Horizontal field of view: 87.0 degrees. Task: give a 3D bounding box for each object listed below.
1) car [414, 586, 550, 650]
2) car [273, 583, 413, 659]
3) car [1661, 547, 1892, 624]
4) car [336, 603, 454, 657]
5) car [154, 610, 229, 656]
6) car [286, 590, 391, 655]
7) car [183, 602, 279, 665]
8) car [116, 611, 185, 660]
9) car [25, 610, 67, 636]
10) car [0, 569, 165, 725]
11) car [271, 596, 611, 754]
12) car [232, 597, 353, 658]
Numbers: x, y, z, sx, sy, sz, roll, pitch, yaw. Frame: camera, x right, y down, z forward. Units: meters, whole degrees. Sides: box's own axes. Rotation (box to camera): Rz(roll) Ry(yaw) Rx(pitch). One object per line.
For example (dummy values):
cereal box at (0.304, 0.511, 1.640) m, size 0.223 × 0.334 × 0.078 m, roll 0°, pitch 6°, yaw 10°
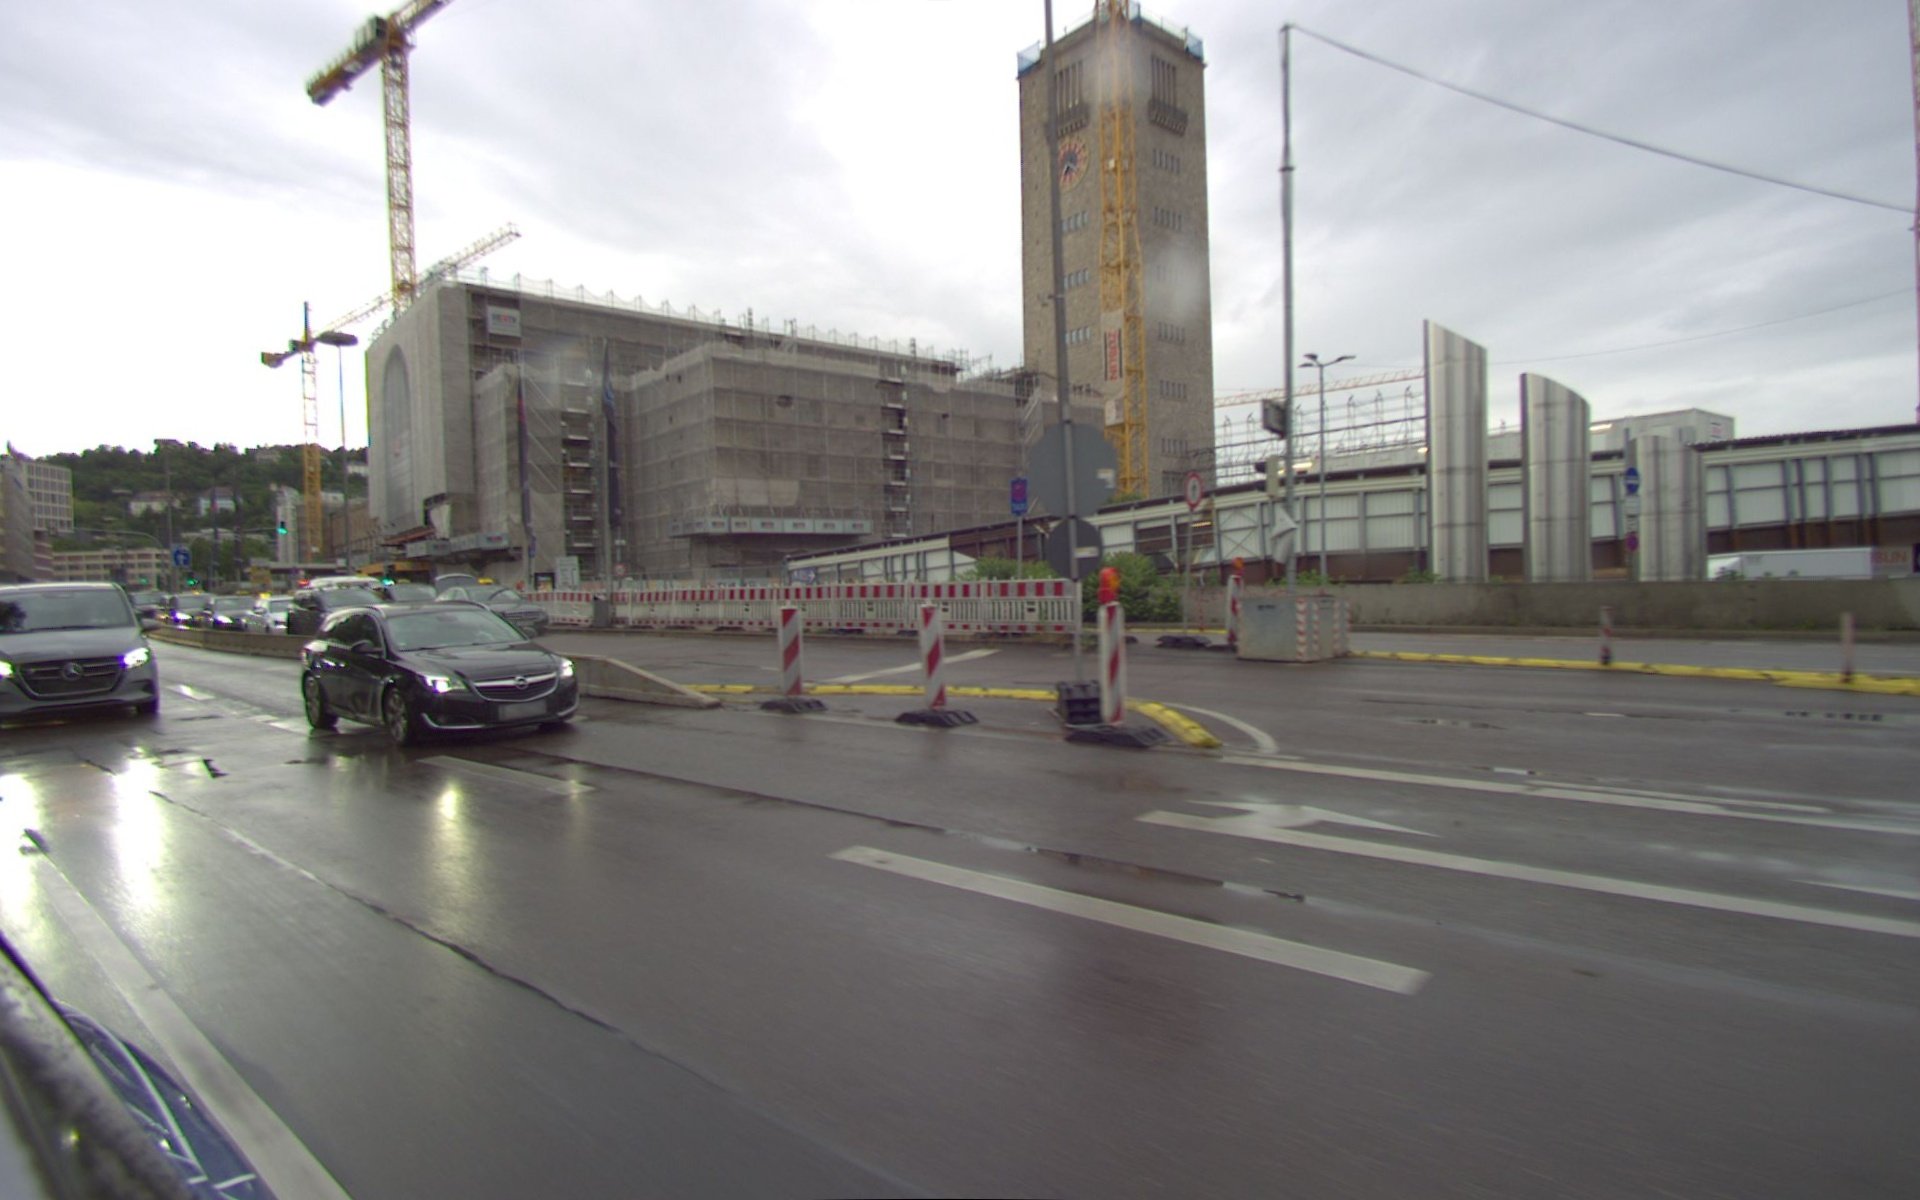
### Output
car at (-13.536, 0.489, 28.532) m, size 4.572 × 1.665 × 1.808 m, roll -1°, pitch 0°, yaw 41°
car at (-16.267, 0.515, 26.604) m, size 4.292 × 1.828 × 1.972 m, roll -1°, pitch 0°, yaw 42°
car at (24.008, -0.403, 29.914) m, size 4.962 × 2.029 × 1.997 m, roll -2°, pitch 0°, yaw 5°
car at (-18.376, 0.942, 32.851) m, size 3.999 × 1.585 × 2.144 m, roll -1°, pitch 0°, yaw 42°
car at (-31.283, 1.299, 41.151) m, size 1.970 × 1.729 × 4.760 m, roll -1°, pitch 0°, yaw -43°
car at (-22.929, 0.805, 37.253) m, size 4.996 × 2.224 × 1.977 m, roll -1°, pitch 0°, yaw 42°
car at (-26.649, 1.182, 36.928) m, size 4.714 × 2.130 × 1.972 m, roll -1°, pitch 0°, yaw 43°
car at (-35.906, 1.532, 44.860) m, size 1.970 × 2.029 × 4.003 m, roll -1°, pitch 0°, yaw -44°
car at (-63.529, 1.564, 70.310) m, size 3.999 × 1.721 × 1.741 m, roll -1°, pitch 0°, yaw 42°
car at (-13.286, 0.636, 14.932) m, size 1.970 × 1.870 × 5.363 m, roll -4°, pitch 1°, yaw -42°
car at (-6.207, 0.746, 11.801) m, size 4.915 × 1.475 × 1.789 m, roll -1°, pitch 0°, yaw 40°
car at (-20.170, 0.835, 30.484) m, size 4.901 × 1.666 × 1.972 m, roll -2°, pitch -1°, yaw 43°
